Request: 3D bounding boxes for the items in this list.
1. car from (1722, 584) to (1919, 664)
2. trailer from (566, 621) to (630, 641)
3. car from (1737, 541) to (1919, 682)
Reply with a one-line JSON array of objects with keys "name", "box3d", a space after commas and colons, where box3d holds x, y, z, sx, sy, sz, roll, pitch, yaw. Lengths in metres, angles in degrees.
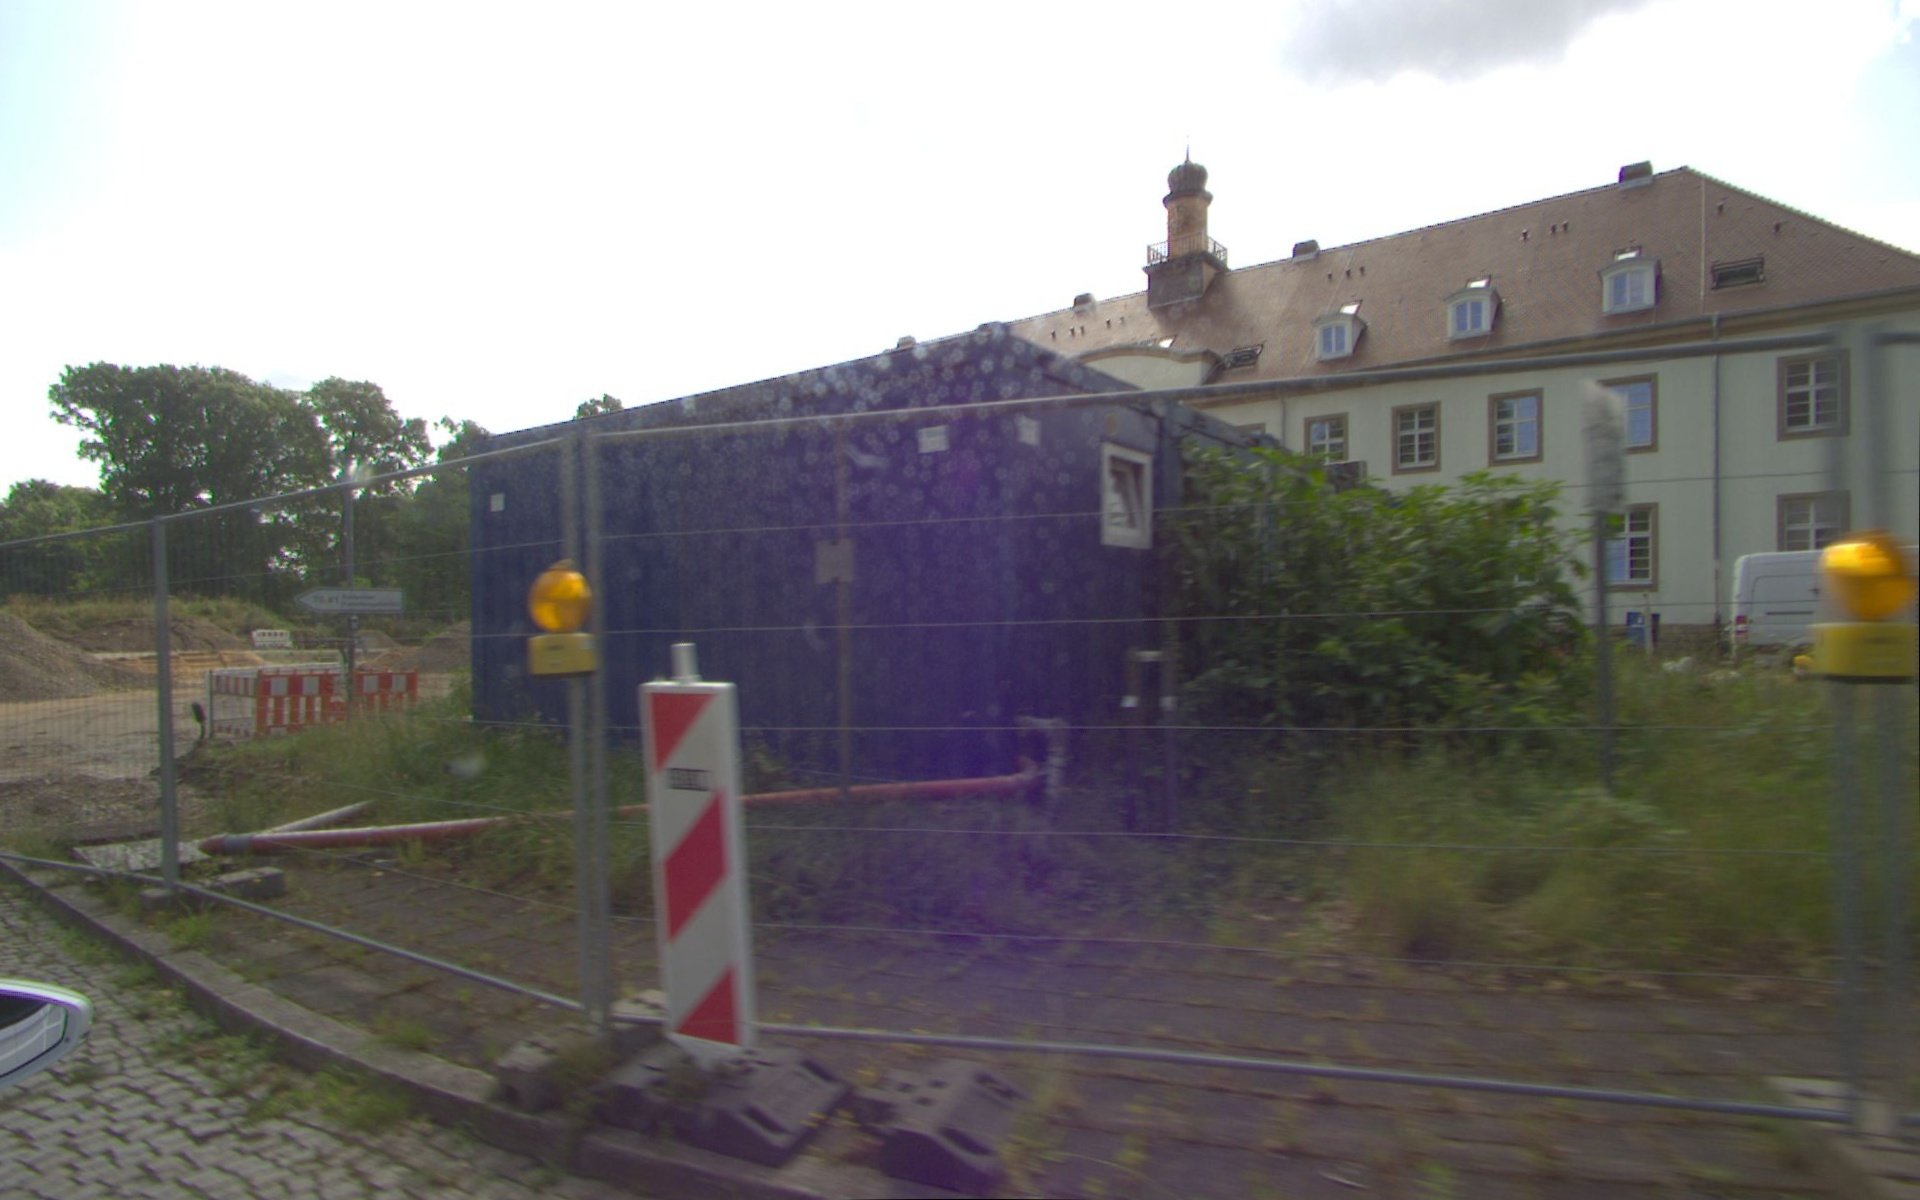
[{"name": "car", "box3d": [21.771, 0.605, 24.597, 4.815, 1.848, 1.986, -1, -2, 39]}, {"name": "trailer", "box3d": [-24.984, 2.120, 69.146, 3.941, 1.371, 2.079, 1, -1, -29]}, {"name": "car", "box3d": [18.435, 0.246, 18.971, 5.838, 2.588, 1.986, -1, -2, 39]}]
